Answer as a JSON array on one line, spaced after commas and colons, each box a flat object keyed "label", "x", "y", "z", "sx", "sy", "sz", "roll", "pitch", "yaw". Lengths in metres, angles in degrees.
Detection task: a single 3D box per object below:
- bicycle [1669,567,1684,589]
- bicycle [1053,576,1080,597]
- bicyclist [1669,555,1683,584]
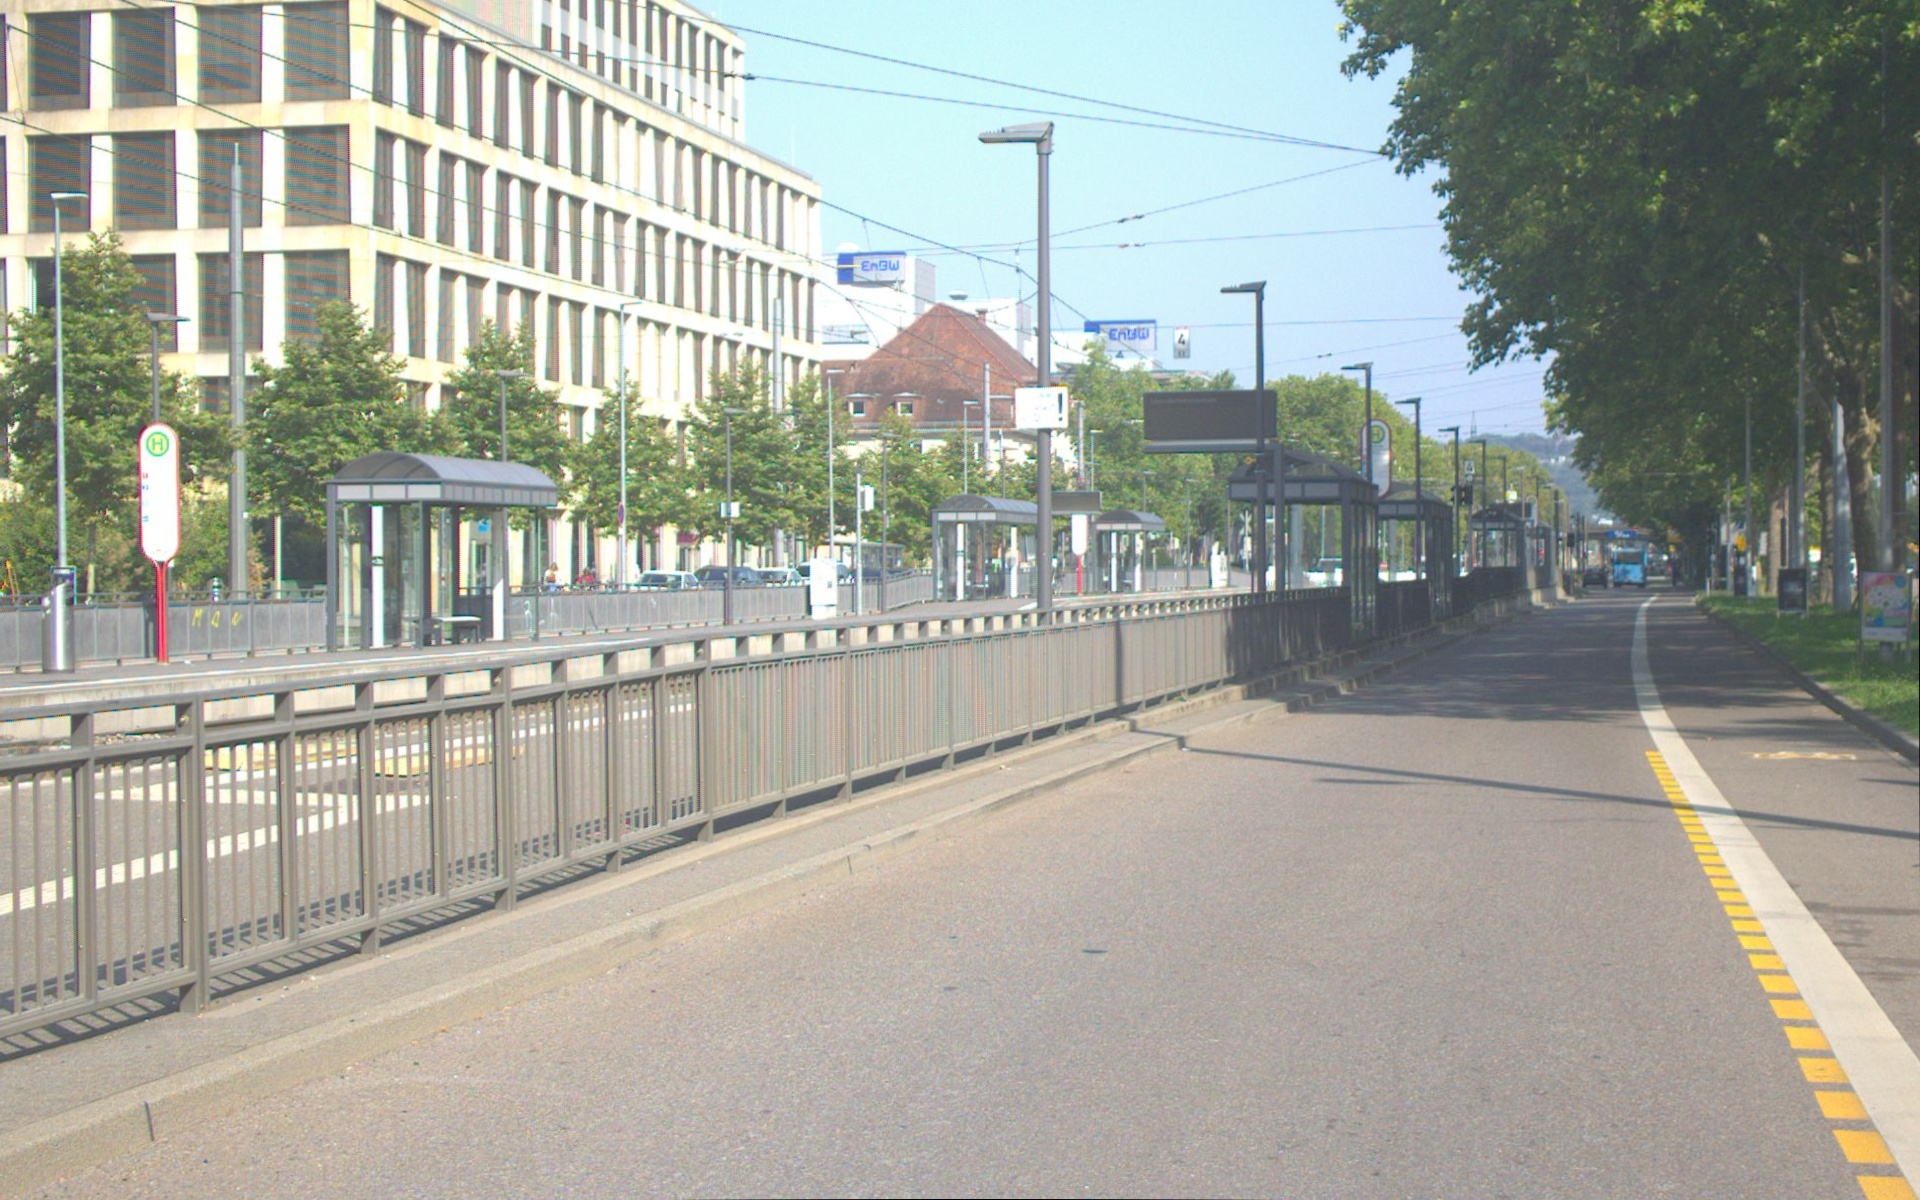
[{"label": "bicycle", "x": 36.347, "y": -1.093, "z": 174.483, "sx": 0.715, "sy": 1.104, "sz": 2.507, "roll": 1, "pitch": 0, "yaw": 12}, {"label": "bicycle", "x": 3.506, "y": -0.441, "z": 113.116, "sx": 0.477, "sy": 0.660, "sz": 1.612, "roll": 0, "pitch": 0, "yaw": 16}, {"label": "bicyclist", "x": 36.356, "y": -1.562, "z": 174.543, "sx": 0.706, "sy": 1.456, "sz": 1.008, "roll": 1, "pitch": 0, "yaw": 12}]
